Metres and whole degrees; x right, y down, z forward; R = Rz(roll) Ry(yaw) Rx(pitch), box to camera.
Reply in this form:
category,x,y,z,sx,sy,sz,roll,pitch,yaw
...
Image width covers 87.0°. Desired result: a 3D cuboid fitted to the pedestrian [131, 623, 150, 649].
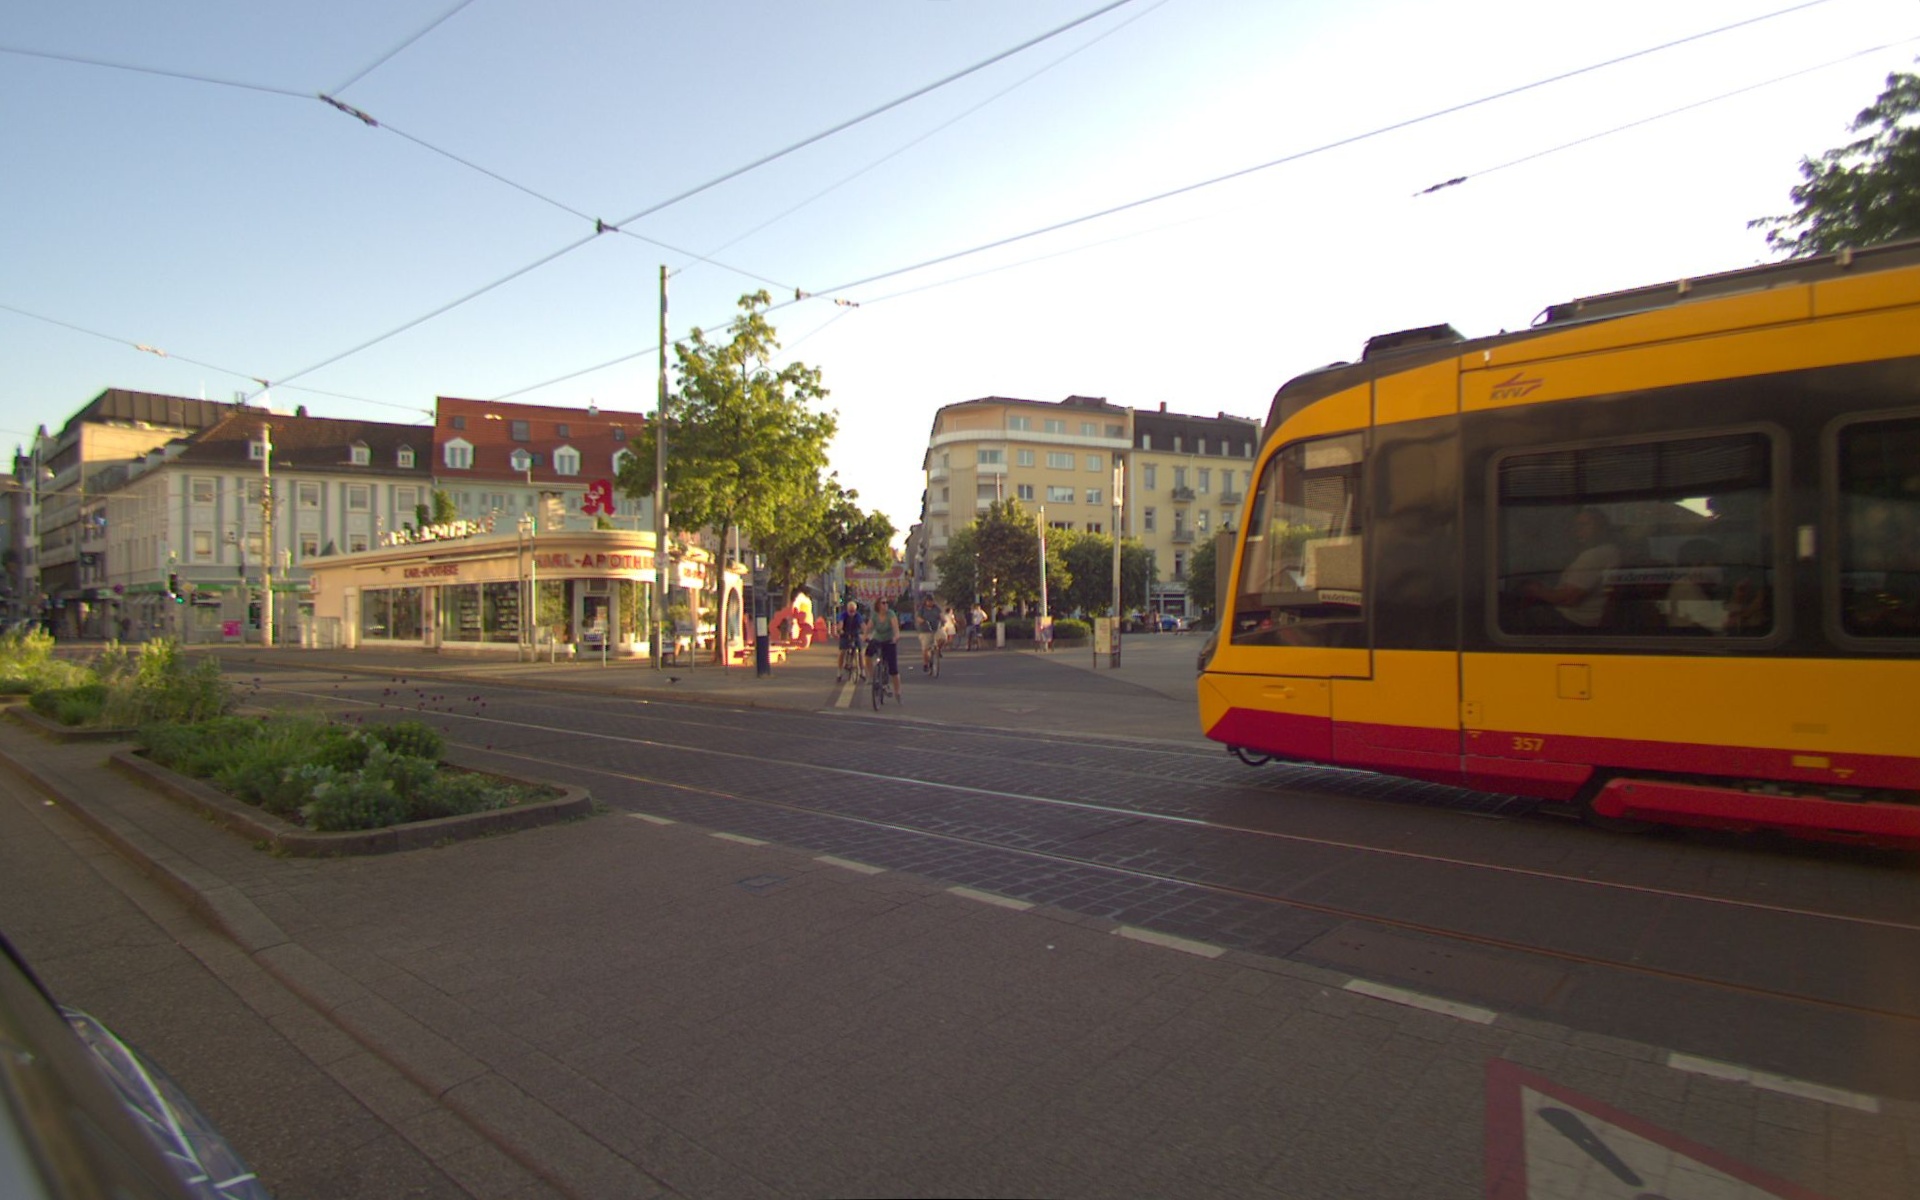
category,x,y,z,sx,sy,sz,roll,pitch,yaw
pedestrian,-53.345,2.324,65.884,0.814,1.652,0.816,-1,2,-33

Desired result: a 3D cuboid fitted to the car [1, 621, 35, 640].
category,x,y,z,sx,sy,sz,roll,pitch,yaw
car,-84.513,2.745,90.771,3.999,1.569,1.796,1,0,41

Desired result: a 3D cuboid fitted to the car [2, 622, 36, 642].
category,x,y,z,sx,sy,sz,roll,pitch,yaw
car,-78.617,2.694,84.523,3.997,1.636,1.679,-2,-1,41

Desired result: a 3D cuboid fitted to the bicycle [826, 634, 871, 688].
category,x,y,z,sx,sy,sz,roll,pitch,yaw
bicycle,-2.411,1.311,22.065,0.455,1.120,1.922,0,-2,9

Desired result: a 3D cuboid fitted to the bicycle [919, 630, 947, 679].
category,x,y,z,sx,sy,sz,roll,pitch,yaw
bicycle,-0.650,1.269,23.924,0.488,1.120,1.714,1,-2,-7

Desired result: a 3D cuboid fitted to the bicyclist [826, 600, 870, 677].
category,x,y,z,sx,sy,sz,roll,pitch,yaw
bicyclist,-2.425,0.828,21.931,0.731,1.623,0.800,1,0,10

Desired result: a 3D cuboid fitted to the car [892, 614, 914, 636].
category,x,y,z,sx,sy,sz,roll,pitch,yaw
car,-5.346,2.351,95.814,1.971,2.029,4.001,1,0,-1

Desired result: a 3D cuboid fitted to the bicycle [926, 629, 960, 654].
category,x,y,z,sx,sy,sz,roll,pitch,yaw
bicycle,-0.669,1.641,40.062,0.425,0.922,1.509,1,0,40

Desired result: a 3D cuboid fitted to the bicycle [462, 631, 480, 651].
category,x,y,z,sx,sy,sz,roll,pitch,yaw
bicycle,-25.795,2.160,53.427,0.550,1.052,2.033,1,-2,-17

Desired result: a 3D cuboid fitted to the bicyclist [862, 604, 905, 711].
category,x,y,z,sx,sy,sz,roll,pitch,yaw
bicyclist,-1.241,0.915,16.452,0.619,1.681,0.704,1,0,0

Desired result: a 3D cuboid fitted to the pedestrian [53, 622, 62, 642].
category,x,y,z,sx,sy,sz,roll,pitch,yaw
pedestrian,-79.391,2.821,88.998,0.600,1.747,0.509,1,0,41

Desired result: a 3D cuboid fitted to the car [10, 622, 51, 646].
category,x,y,z,sx,sy,sz,roll,pitch,yaw
car,-73.957,2.660,80.492,4.127,1.809,1.890,-1,0,41

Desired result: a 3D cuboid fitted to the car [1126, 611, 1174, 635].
category,x,y,z,sx,sy,sz,roll,pitch,yaw
car,15.916,1.941,84.700,3.594,1.921,1.832,0,-1,-26

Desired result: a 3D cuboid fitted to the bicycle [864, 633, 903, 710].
category,x,y,z,sx,sy,sz,roll,pitch,yaw
bicycle,-1.228,1.124,16.416,0.454,1.120,1.936,1,0,0

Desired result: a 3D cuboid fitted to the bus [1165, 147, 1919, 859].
category,x,y,z,sx,sy,sz,roll,pitch,yaw
bus,8.950,-0.566,3.532,17.065,3.679,2.792,-1,-2,42

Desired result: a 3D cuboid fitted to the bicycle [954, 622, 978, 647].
category,x,y,z,sx,sy,sz,roll,pitch,yaw
bicycle,0.221,1.346,39.467,0.418,0.922,1.432,1,0,-20

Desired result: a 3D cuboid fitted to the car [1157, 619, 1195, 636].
category,x,y,z,sx,sy,sz,roll,pitch,yaw
car,19.783,2.520,92.587,3.202,1.571,1.492,1,-1,-26

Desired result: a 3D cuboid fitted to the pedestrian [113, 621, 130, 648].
category,x,y,z,sx,sy,sz,roll,pitch,yaw
pedestrian,-54.563,2.234,65.876,0.814,1.741,0.815,-1,-1,-39

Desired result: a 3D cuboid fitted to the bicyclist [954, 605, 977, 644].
category,x,y,z,sx,sy,sz,roll,pitch,yaw
bicyclist,0.215,0.948,39.467,0.665,1.531,0.659,0,-1,-22

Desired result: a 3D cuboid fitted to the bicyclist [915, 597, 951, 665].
category,x,y,z,sx,sy,sz,roll,pitch,yaw
bicyclist,-0.648,0.727,24.009,0.742,1.588,0.704,1,0,-7

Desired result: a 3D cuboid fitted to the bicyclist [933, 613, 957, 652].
category,x,y,z,sx,sy,sz,roll,pitch,yaw
bicyclist,-0.608,1.289,40.189,0.677,1.531,0.648,-1,-1,40

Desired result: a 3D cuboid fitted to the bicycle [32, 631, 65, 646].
category,x,y,z,sx,sy,sz,roll,pitch,yaw
bicycle,-64.836,2.727,72.021,1.715,1.067,0.499,1,-3,-41

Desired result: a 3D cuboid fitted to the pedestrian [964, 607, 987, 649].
category,x,y,z,sx,sy,sz,roll,pitch,yaw
pedestrian,0.617,1.134,40.985,0.666,1.688,0.659,1,0,-33
